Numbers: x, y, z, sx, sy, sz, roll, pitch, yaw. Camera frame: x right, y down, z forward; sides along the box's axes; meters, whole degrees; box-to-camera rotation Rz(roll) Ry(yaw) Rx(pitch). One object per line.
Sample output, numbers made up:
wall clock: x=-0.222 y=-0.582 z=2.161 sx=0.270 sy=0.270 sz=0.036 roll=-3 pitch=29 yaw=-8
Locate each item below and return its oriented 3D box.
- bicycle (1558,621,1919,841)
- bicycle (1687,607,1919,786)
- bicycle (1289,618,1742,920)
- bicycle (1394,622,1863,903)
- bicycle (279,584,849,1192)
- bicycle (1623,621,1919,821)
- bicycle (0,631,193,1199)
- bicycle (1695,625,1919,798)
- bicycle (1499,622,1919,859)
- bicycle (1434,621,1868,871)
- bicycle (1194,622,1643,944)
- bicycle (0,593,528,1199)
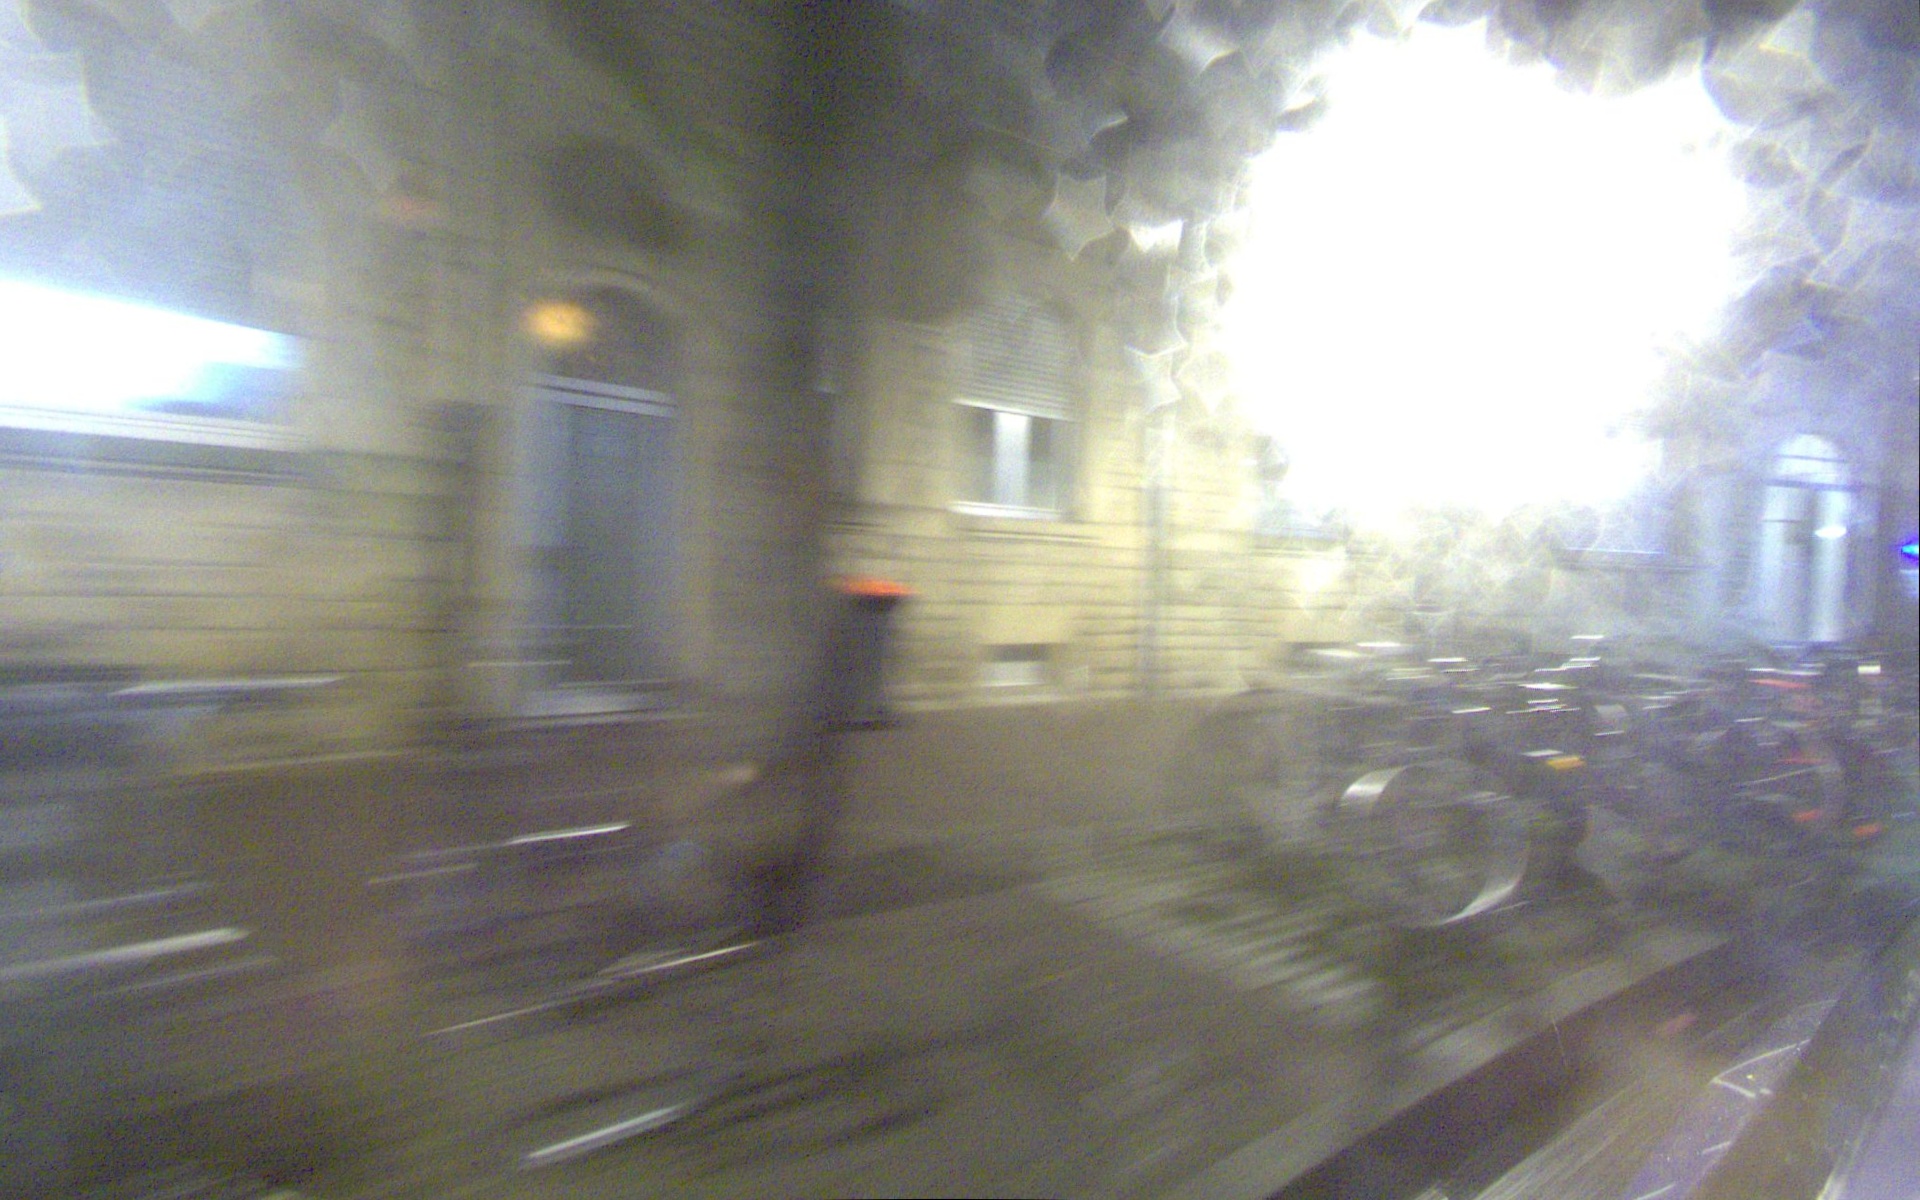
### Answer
bicycle: x=4.933 y=0.721 z=6.398 sx=0.629 sy=1.019 sz=1.980 roll=1 pitch=3 yaw=-21
bicycle: x=6.698 y=0.681 z=7.564 sx=0.715 sy=1.128 sz=1.937 roll=1 pitch=3 yaw=-21
bicycle: x=2.560 y=0.685 z=5.001 sx=0.629 sy=1.046 sz=1.980 roll=1 pitch=3 yaw=-21
bicycle: x=3.258 y=0.700 z=5.223 sx=0.629 sy=1.019 sz=1.980 roll=1 pitch=3 yaw=-21
bicycle: x=-1.201 y=0.547 z=2.820 sx=1.818 sy=1.100 sz=0.710 roll=4 pitch=3 yaw=41
bicycle: x=5.583 y=0.727 z=6.663 sx=0.673 sy=1.019 sz=1.980 roll=1 pitch=3 yaw=-21
bicycle: x=-1.686 y=0.642 z=1.515 sx=0.629 sy=1.019 sz=1.978 roll=0 pitch=3 yaw=-31
bicycle: x=6.354 y=0.753 z=7.003 sx=0.715 sy=0.999 sz=1.937 roll=1 pitch=3 yaw=-21
bicycle: x=4.310 y=0.716 z=6.012 sx=0.629 sy=1.019 sz=1.980 roll=1 pitch=3 yaw=-21
bicycle: x=3.736 y=0.703 z=5.731 sx=0.629 sy=1.019 sz=1.980 roll=1 pitch=3 yaw=-21
bicycle: x=1.943 y=0.689 z=4.690 sx=0.629 sy=1.019 sz=1.980 roll=1 pitch=3 yaw=-21
bicycle: x=-1.749 y=0.566 z=1.841 sx=1.955 sy=1.066 sz=0.637 roll=3 pitch=3 yaw=26
